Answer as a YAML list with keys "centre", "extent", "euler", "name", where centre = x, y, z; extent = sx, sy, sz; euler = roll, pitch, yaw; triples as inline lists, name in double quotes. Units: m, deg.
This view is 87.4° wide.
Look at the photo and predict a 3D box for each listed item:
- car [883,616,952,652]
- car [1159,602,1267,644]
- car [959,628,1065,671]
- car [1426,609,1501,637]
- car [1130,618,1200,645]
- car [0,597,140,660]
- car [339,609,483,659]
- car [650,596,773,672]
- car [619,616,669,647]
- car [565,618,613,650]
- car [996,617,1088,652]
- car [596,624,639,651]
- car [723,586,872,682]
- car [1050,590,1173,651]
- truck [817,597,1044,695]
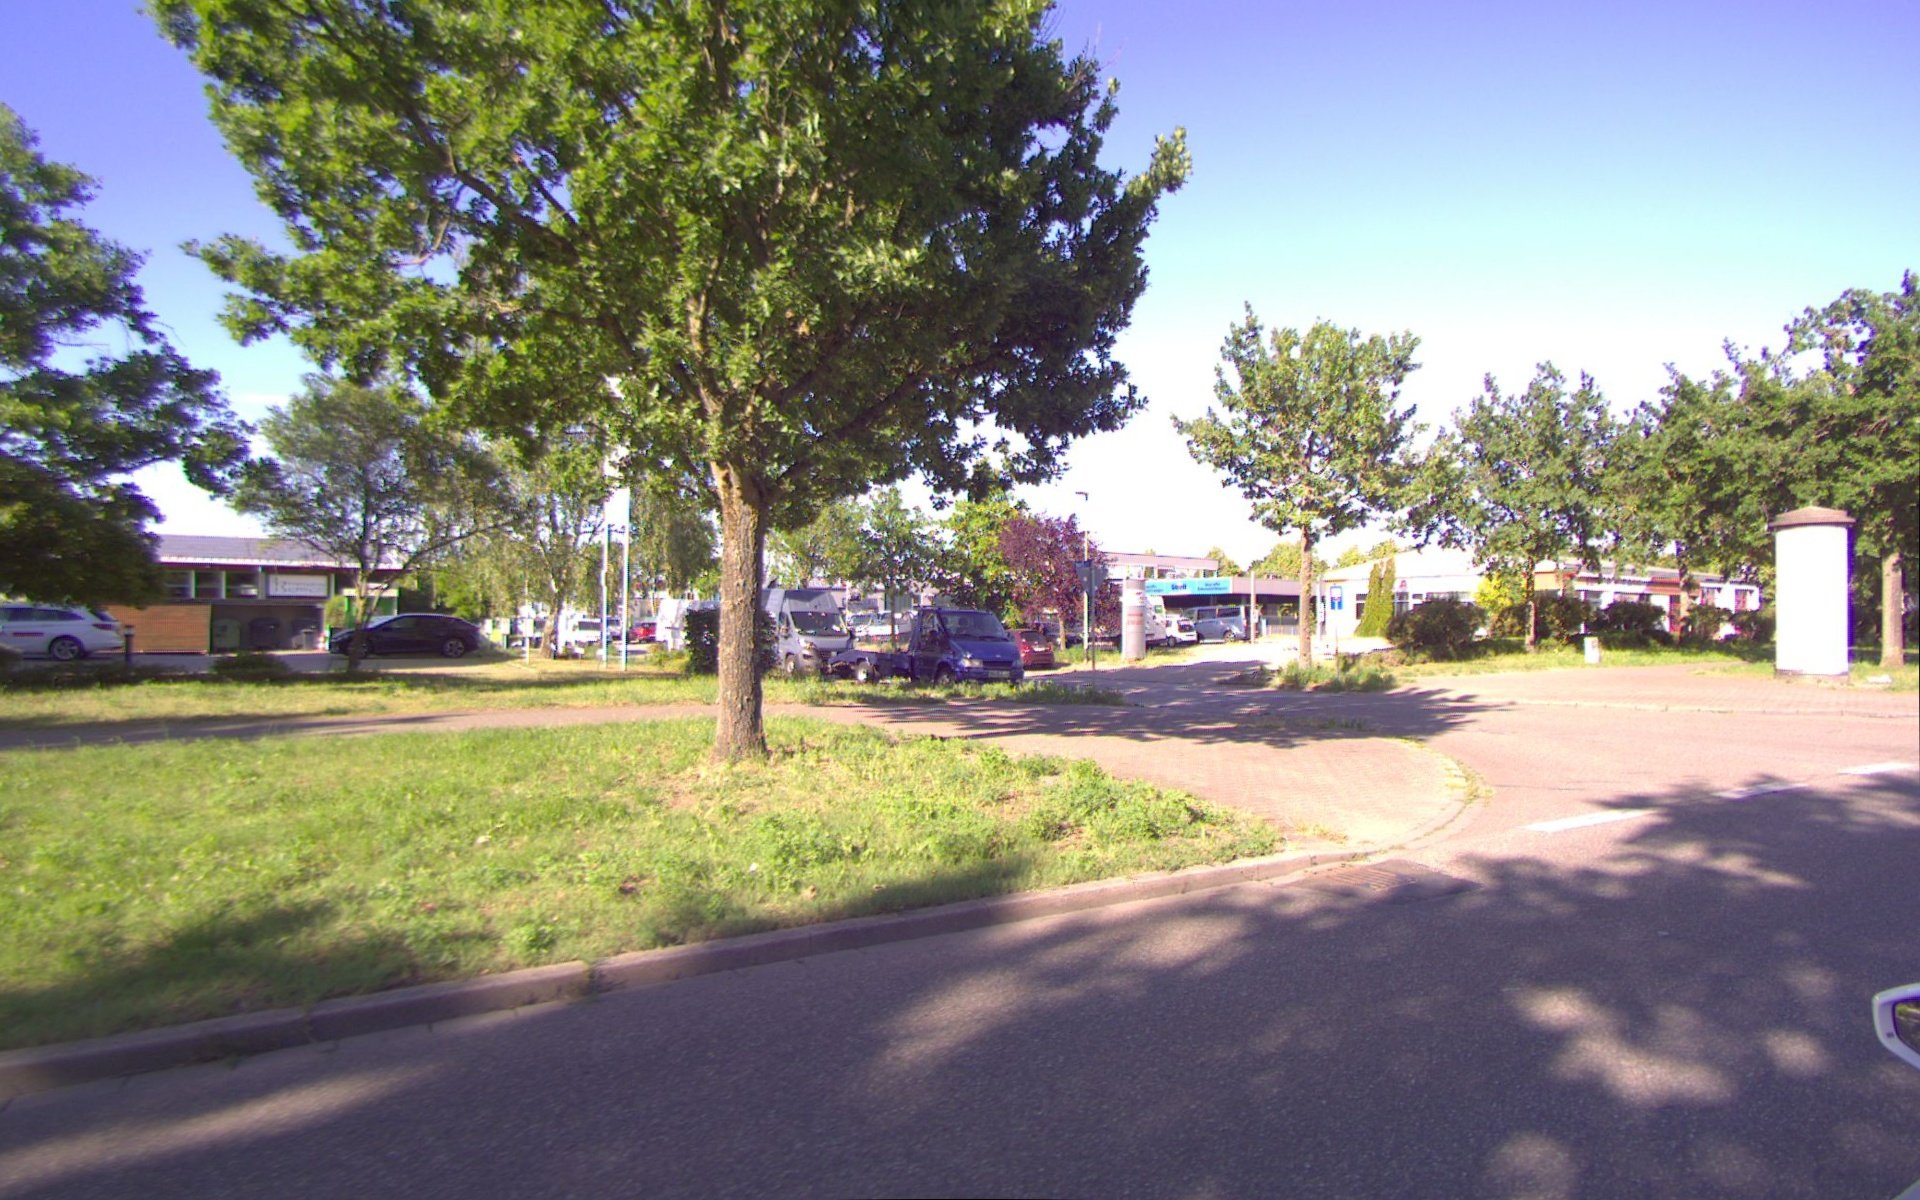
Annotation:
- centre: [-2.429, 1.857, 56.110]
  extent: [1.867, 1.910, 4.211]
  euler: [1, -1, -35]
  name: "car"
- centre: [13.355, 1.226, 53.300]
  extent: [2.278, 2.097, 5.373]
  euler: [1, -1, -35]
  name: "car"
- centre: [1.905, 1.813, 37.956]
  extent: [1.807, 1.501, 4.163]
  euler: [1, -2, -35]
  name: "car"
- centre: [29.059, 1.314, 58.031]
  extent: [1.578, 1.517, 3.570]
  euler: [2, -1, -37]
  name: "car"
- centre: [10.630, 1.626, 52.307]
  extent: [1.559, 1.319, 3.500]
  euler: [1, -1, -35]
  name: "car"
- centre: [-24.943, 0.743, 26.952]
  extent: [4.253, 1.514, 1.982]
  euler: [4, -1, -33]
  name: "car"
- centre: [-19.231, 1.187, 35.220]
  extent: [4.253, 1.514, 1.982]
  euler: [4, -1, -33]
  name: "car"
- centre: [-9.420, 1.169, 37.631]
  extent: [2.279, 2.549, 6.295]
  euler: [2, 0, -35]
  name: "car"
- centre: [-23.886, 2.367, 75.870]
  extent: [2.183, 2.132, 4.895]
  euler: [2, 0, -35]
  name: "car"
- centre: [-19.428, 1.771, 52.520]
  extent: [1.497, 1.594, 3.109]
  euler: [1, -1, -38]
  name: "car"
- centre: [3.825, 1.593, 47.636]
  extent: [1.867, 1.571, 4.615]
  euler: [1, -1, -35]
  name: "car"
- centre: [-29.552, 3.200, 86.549]
  extent: [2.183, 2.132, 4.895]
  euler: [2, 0, -35]
  name: "car"
- centre: [-5.278, 0.967, 31.818]
  extent: [2.279, 2.738, 5.822]
  euler: [2, 0, -35]
  name: "car"
- centre: [7.265, 0.947, 48.779]
  extent: [2.279, 2.738, 6.118]
  euler: [2, 0, -35]
  name: "car"
- centre: [-1.005, 1.041, 25.659]
  extent: [2.121, 2.077, 7.059]
  euler: [2, 0, -37]
  name: "truck"
